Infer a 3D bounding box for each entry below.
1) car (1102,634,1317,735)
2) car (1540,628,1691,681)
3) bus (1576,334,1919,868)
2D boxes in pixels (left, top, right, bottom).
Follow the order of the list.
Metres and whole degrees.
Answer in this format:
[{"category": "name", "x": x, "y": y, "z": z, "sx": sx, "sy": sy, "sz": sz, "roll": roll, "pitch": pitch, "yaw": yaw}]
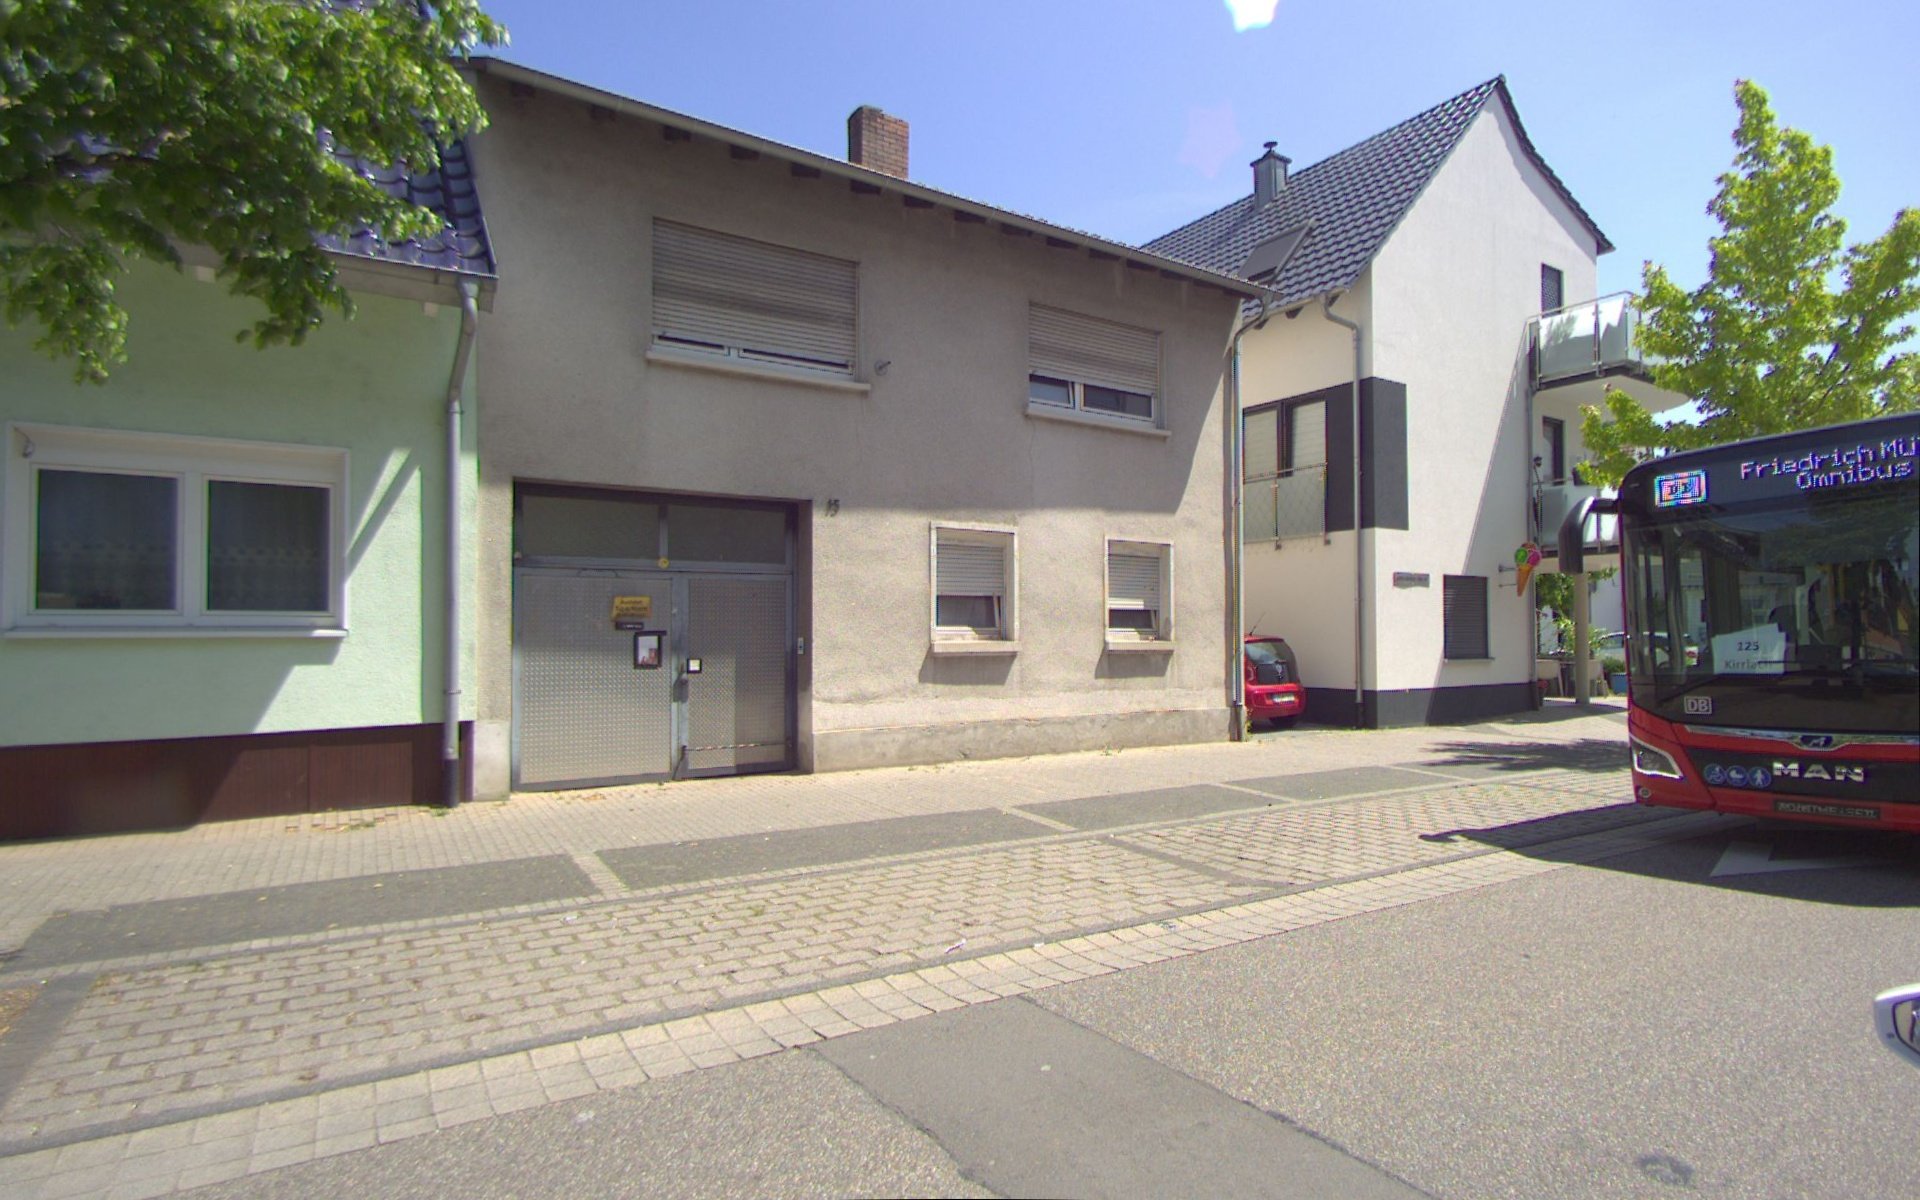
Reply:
[{"category": "car", "x": 3.950, "y": 1.285, "z": 16.232, "sx": 1.572, "sy": 1.462, "sz": 3.092, "roll": 1, "pitch": -2, "yaw": -37}, {"category": "car", "x": 21.105, "y": 1.730, "z": 32.416, "sx": 3.872, "sy": 1.566, "sz": 1.510, "roll": -2, "pitch": -1, "yaw": 42}, {"category": "bus", "x": 12.756, "y": 0.180, "z": 11.245, "sx": 17.614, "sy": 3.165, "sz": 2.654, "roll": 1, "pitch": -2, "yaw": -33}]
